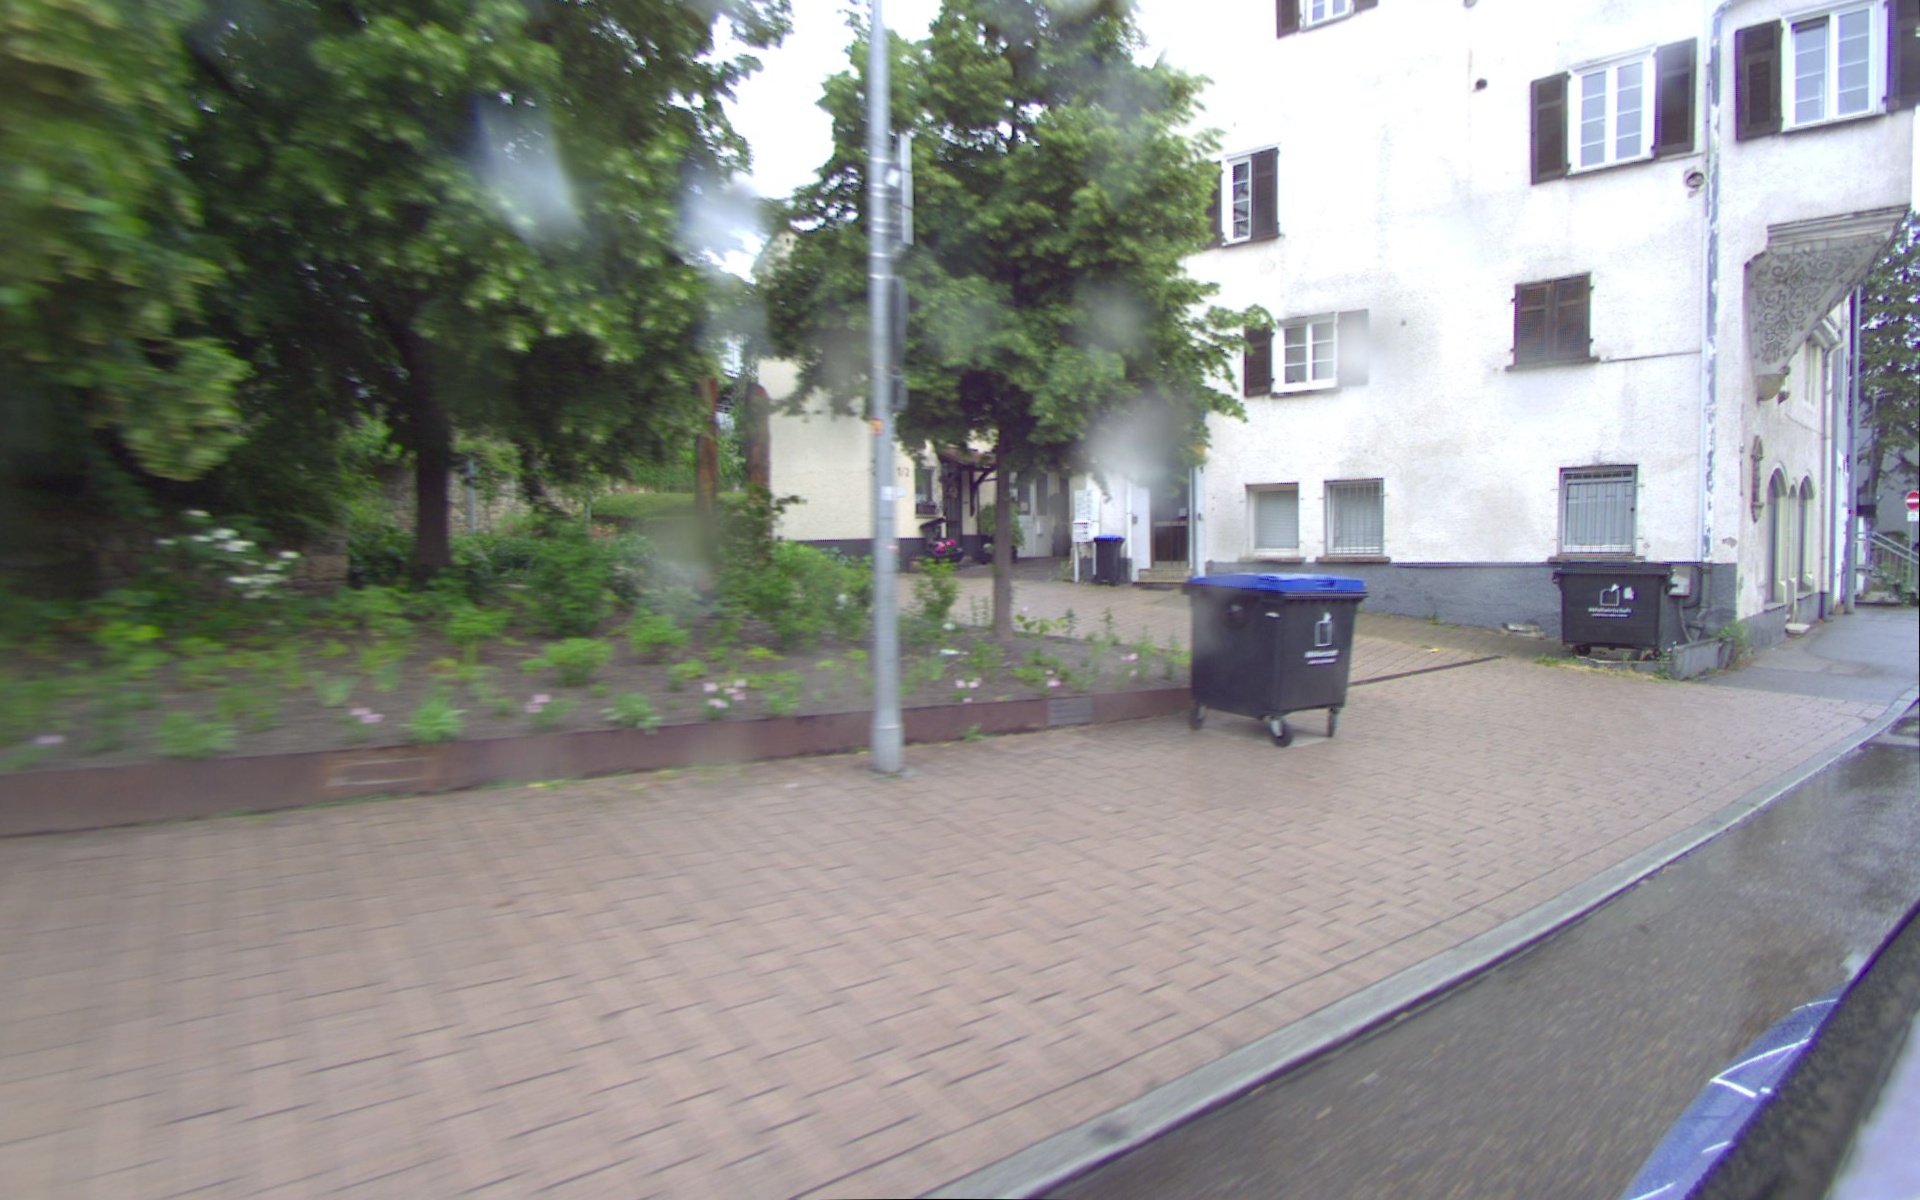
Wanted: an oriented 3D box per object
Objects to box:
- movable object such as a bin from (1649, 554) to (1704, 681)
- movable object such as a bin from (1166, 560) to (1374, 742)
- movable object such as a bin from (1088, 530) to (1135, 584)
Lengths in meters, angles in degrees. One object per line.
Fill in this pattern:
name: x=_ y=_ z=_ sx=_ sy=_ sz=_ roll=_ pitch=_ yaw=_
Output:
movable object such as a bin: x=8.685 y=0.193 z=12.280 sx=0.409 sy=1.459 sz=0.639 roll=1 pitch=5 yaw=26
movable object such as a bin: x=2.531 y=0.351 z=8.317 sx=1.164 sy=1.329 sz=1.159 roll=-2 pitch=3 yaw=-34
movable object such as a bin: x=2.832 y=-0.819 z=18.928 sx=0.656 sy=0.932 sz=0.585 roll=6 pitch=10 yaw=41
